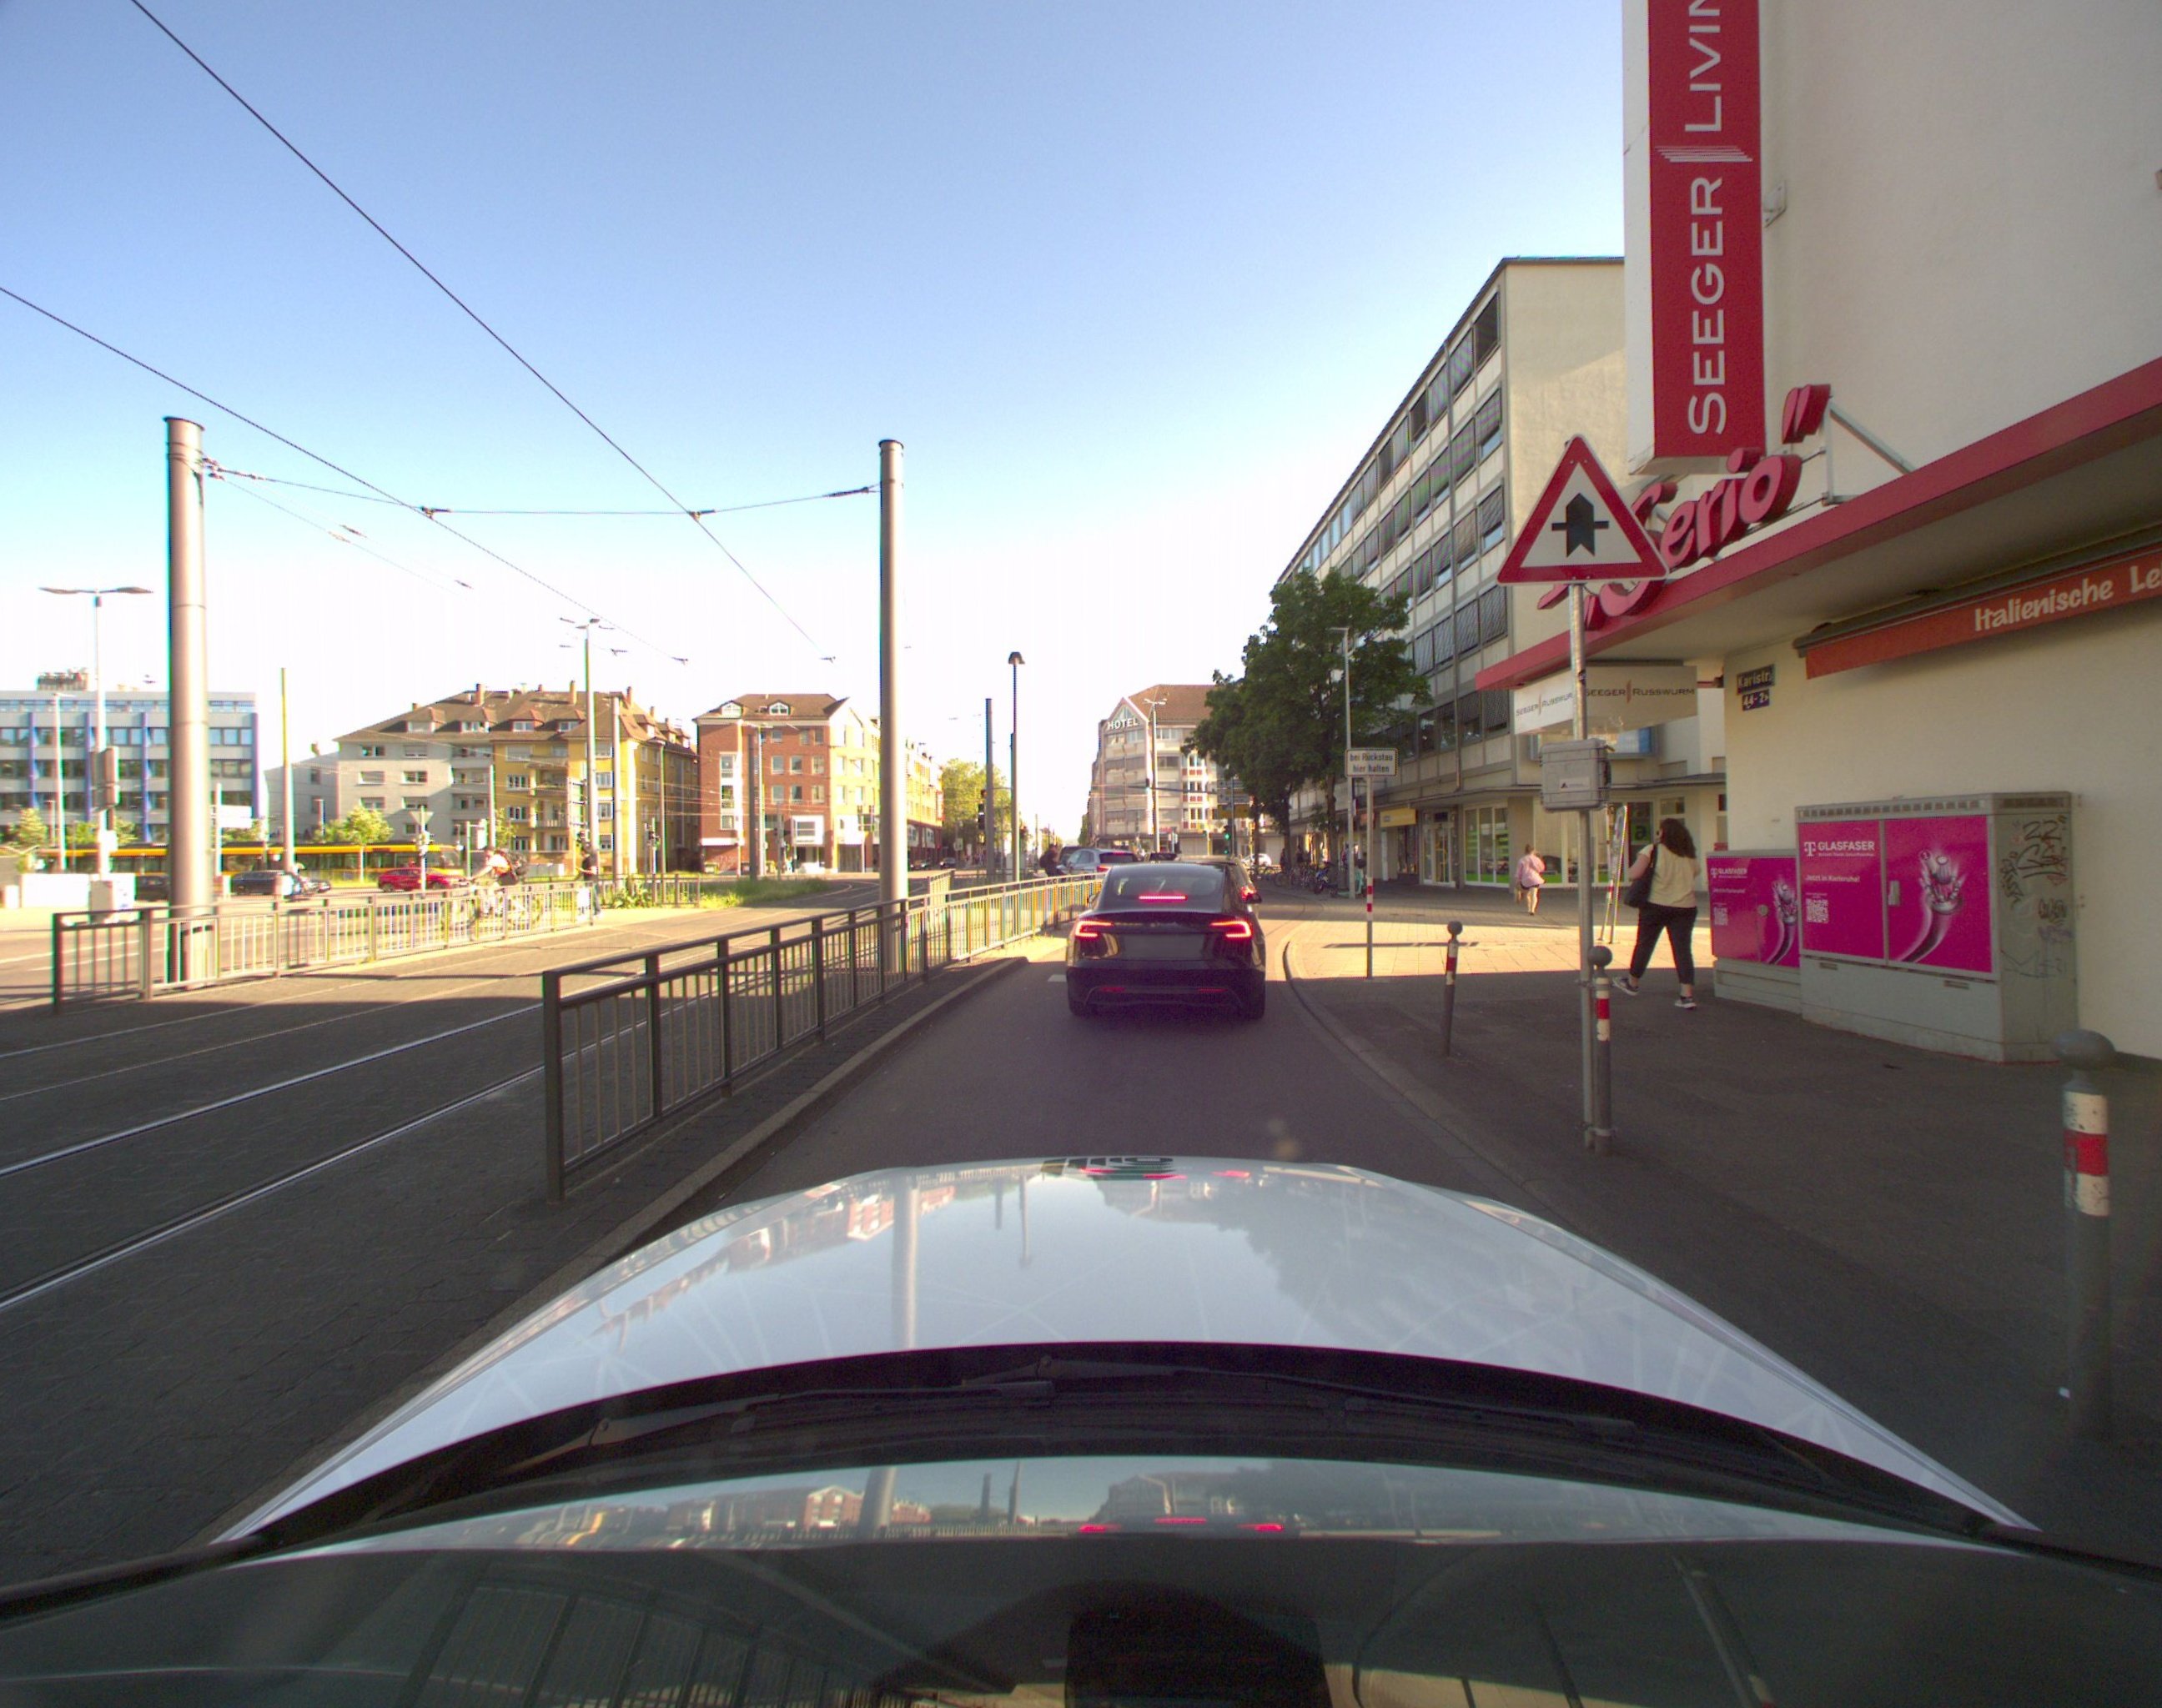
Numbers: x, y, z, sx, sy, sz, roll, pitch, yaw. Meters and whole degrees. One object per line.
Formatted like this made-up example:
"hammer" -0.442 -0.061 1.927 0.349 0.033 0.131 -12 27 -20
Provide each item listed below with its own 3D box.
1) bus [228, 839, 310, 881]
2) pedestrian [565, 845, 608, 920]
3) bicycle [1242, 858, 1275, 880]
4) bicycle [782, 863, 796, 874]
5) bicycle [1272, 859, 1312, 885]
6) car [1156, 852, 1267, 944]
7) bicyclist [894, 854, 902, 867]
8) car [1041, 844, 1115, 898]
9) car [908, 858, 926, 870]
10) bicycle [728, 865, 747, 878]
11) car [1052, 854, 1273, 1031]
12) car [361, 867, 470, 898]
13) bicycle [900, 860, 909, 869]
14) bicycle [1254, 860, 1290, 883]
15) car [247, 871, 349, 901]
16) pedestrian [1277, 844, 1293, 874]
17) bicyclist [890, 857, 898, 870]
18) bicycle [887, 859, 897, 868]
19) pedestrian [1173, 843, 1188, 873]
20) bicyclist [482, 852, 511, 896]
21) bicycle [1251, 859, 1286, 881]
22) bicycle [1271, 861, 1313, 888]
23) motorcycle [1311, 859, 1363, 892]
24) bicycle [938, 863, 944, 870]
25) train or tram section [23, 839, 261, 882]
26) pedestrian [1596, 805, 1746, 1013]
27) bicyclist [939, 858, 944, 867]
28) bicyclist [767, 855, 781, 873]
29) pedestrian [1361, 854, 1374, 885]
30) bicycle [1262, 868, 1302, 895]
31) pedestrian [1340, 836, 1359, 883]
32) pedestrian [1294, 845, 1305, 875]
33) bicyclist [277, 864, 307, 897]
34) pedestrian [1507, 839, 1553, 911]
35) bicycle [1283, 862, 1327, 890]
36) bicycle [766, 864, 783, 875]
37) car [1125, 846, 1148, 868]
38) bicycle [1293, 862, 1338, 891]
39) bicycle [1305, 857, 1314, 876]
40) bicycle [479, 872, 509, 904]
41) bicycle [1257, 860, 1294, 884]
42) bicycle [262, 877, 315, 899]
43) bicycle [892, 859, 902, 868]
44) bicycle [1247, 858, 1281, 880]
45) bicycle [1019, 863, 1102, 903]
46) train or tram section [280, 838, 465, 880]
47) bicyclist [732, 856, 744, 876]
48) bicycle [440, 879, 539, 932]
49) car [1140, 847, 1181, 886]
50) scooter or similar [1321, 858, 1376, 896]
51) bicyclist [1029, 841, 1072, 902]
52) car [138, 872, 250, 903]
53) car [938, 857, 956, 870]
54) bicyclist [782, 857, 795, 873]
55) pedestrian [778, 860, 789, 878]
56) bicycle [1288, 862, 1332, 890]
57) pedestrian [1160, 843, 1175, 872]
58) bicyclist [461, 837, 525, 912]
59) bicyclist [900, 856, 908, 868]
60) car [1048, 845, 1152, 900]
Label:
"bus" -62.812 0.442 63.087 3.509 3.131 2.767 0 -1 -4
"pedestrian" -11.413 0.648 18.816 0.590 1.681 0.772 0 -1 -10
"bicycle" 9.249 0.786 42.403 1.643 1.099 0.350 0 -1 3
"bicycle" -26.863 1.361 74.944 0.402 0.981 1.699 -1 -1 10
"bicycle" 9.123 0.780 35.268 1.643 1.099 0.350 0 -1 3
"car" 2.364 0.698 14.995 1.741 1.454 4.009 -1 0 8
"bicyclist" -22.757 0.774 101.267 0.780 1.563 0.747 -1 0 3
"car" -0.189 0.661 32.693 1.997 2.014 3.980 -1 0 -15
"car" -20.817 1.298 103.406 1.706 1.527 4.032 0 -1 -3
"bicycle" -26.002 1.331 61.692 0.445 0.972 2.247 0 -1 2
"car" 0.909 0.749 8.787 1.820 1.455 4.007 -1 -1 7
"car" -39.452 1.659 48.382 4.585 1.700 1.993 0 -1 -10
"bicycle" -22.493 1.362 103.830 0.527 1.088 2.286 -1 -1 4
"bicycle" 9.210 0.836 39.248 1.643 1.099 0.350 0 -1 3
"car" -45.489 1.845 47.387 3.984 1.672 1.772 0 -1 -8
"pedestrian" 11.557 0.286 46.197 0.697 1.662 0.777 0 -1 1
"bicyclist" -22.621 1.107 98.363 0.780 1.563 0.747 0 -1 3
"bicycle" -22.686 1.137 97.900 0.535 1.088 2.227 0 -1 4
"pedestrian" 6.658 0.264 54.382 0.917 2.014 0.973 0 -1 1
"bicyclist" -23.847 0.808 33.253 0.758 1.759 0.748 0 -1 -19
"bicycle" 9.285 0.793 40.261 1.643 1.099 0.350 0 -1 3
"bicycle" 8.621 0.842 33.330 1.649 1.099 0.349 0 -1 -9
"motorcycle" 9.149 0.763 29.179 1.701 1.173 0.541 0 -1 0
"bicycle" -23.176 2.061 134.748 0.527 1.088 2.227 0 -1 4
"train or tram section" -71.434 0.501 62.220 13.654 3.131 2.728 0 -1 -6
"pedestrian" 5.381 0.463 7.513 0.906 1.752 1.044 -1 0 25
"bicyclist" -23.126 1.385 135.088 0.780 1.563 0.747 0 -1 3
"bicyclist" -25.819 0.814 68.539 0.895 1.503 0.696 0 -1 1
"pedestrian" 12.474 0.655 35.445 0.388 1.343 0.513 0 -1 4
"bicycle" 8.451 1.137 34.224 1.649 1.099 0.349 0 -1 -9
"pedestrian" 11.777 0.243 35.768 0.659 2.014 0.580 0 -1 4
"pedestrian" 12.413 0.344 46.253 0.524 1.710 0.403 0 -1 2
"bicyclist" -44.125 1.450 45.544 0.900 1.808 0.788 0 -1 -10
"pedestrian" 10.695 0.495 19.424 0.881 1.667 0.813 -1 -1 25
"bicycle" 8.736 0.854 31.798 1.649 1.099 0.349 0 -1 -9
"bicycle" -25.809 1.298 68.575 0.522 0.972 2.247 0 -1 2
"car" 4.592 0.276 67.946 1.713 1.751 3.755 0 -1 2
"bicycle" 8.900 0.855 30.948 1.649 1.099 0.349 0 -1 -9
"bicycle" 12.864 0.709 45.837 0.330 1.034 1.259 -1 -1 7
"bicycle" -23.851 1.368 33.132 0.485 1.222 1.842 0 -1 -19
"bicycle" 9.145 0.832 38.222 1.643 1.099 0.350 0 -1 3
"bicycle" -44.263 1.888 45.501 2.188 1.214 0.544 0 -1 -11
"bicycle" -22.767 1.170 101.053 0.527 1.089 2.286 3 -1 4
"bicycle" 9.268 0.756 41.308 1.643 1.099 0.350 -1 0 3
"bicycle" -0.549 0.787 22.566 2.346 1.053 0.624 0 -1 -36
"train or tram section" -55.458 0.393 64.066 11.222 3.131 2.797 0 -1 -8
"bicyclist" -26.012 0.921 61.729 0.631 1.503 0.696 0 -1 1
"bicycle" -12.161 1.037 16.774 1.611 0.994 0.399 0 -1 -41
"car" 3.861 0.599 40.118 1.593 1.778 3.980 0 -1 0
"scooter or similar" 8.903 0.759 27.109 1.625 1.215 0.649 -1 -1 32
"bicyclist" -0.838 0.466 22.328 0.763 1.628 0.967 0 -1 -37
"car" -50.619 1.885 46.569 3.952 1.685 1.903 0 -1 -11
"car" -17.496 1.240 106.671 1.692 1.731 3.706 0 -1 0
"bicyclist" -26.891 1.016 74.954 0.699 1.471 0.975 -1 0 9
"pedestrian" -30.301 1.510 82.851 0.780 1.820 0.747 0 -1 3
"bicycle" 8.822 0.828 31.373 1.649 1.061 0.349 0 -1 -9
"pedestrian" 6.117 0.262 57.634 0.917 2.014 0.973 0 -1 1
"bicyclist" -12.130 0.412 16.810 1.049 1.521 0.387 0 -1 -41
"bicyclist" -22.474 1.028 103.323 0.780 1.563 0.747 -1 0 3
"car" 0.518 0.569 26.658 1.891 1.662 4.126 0 -1 -23
